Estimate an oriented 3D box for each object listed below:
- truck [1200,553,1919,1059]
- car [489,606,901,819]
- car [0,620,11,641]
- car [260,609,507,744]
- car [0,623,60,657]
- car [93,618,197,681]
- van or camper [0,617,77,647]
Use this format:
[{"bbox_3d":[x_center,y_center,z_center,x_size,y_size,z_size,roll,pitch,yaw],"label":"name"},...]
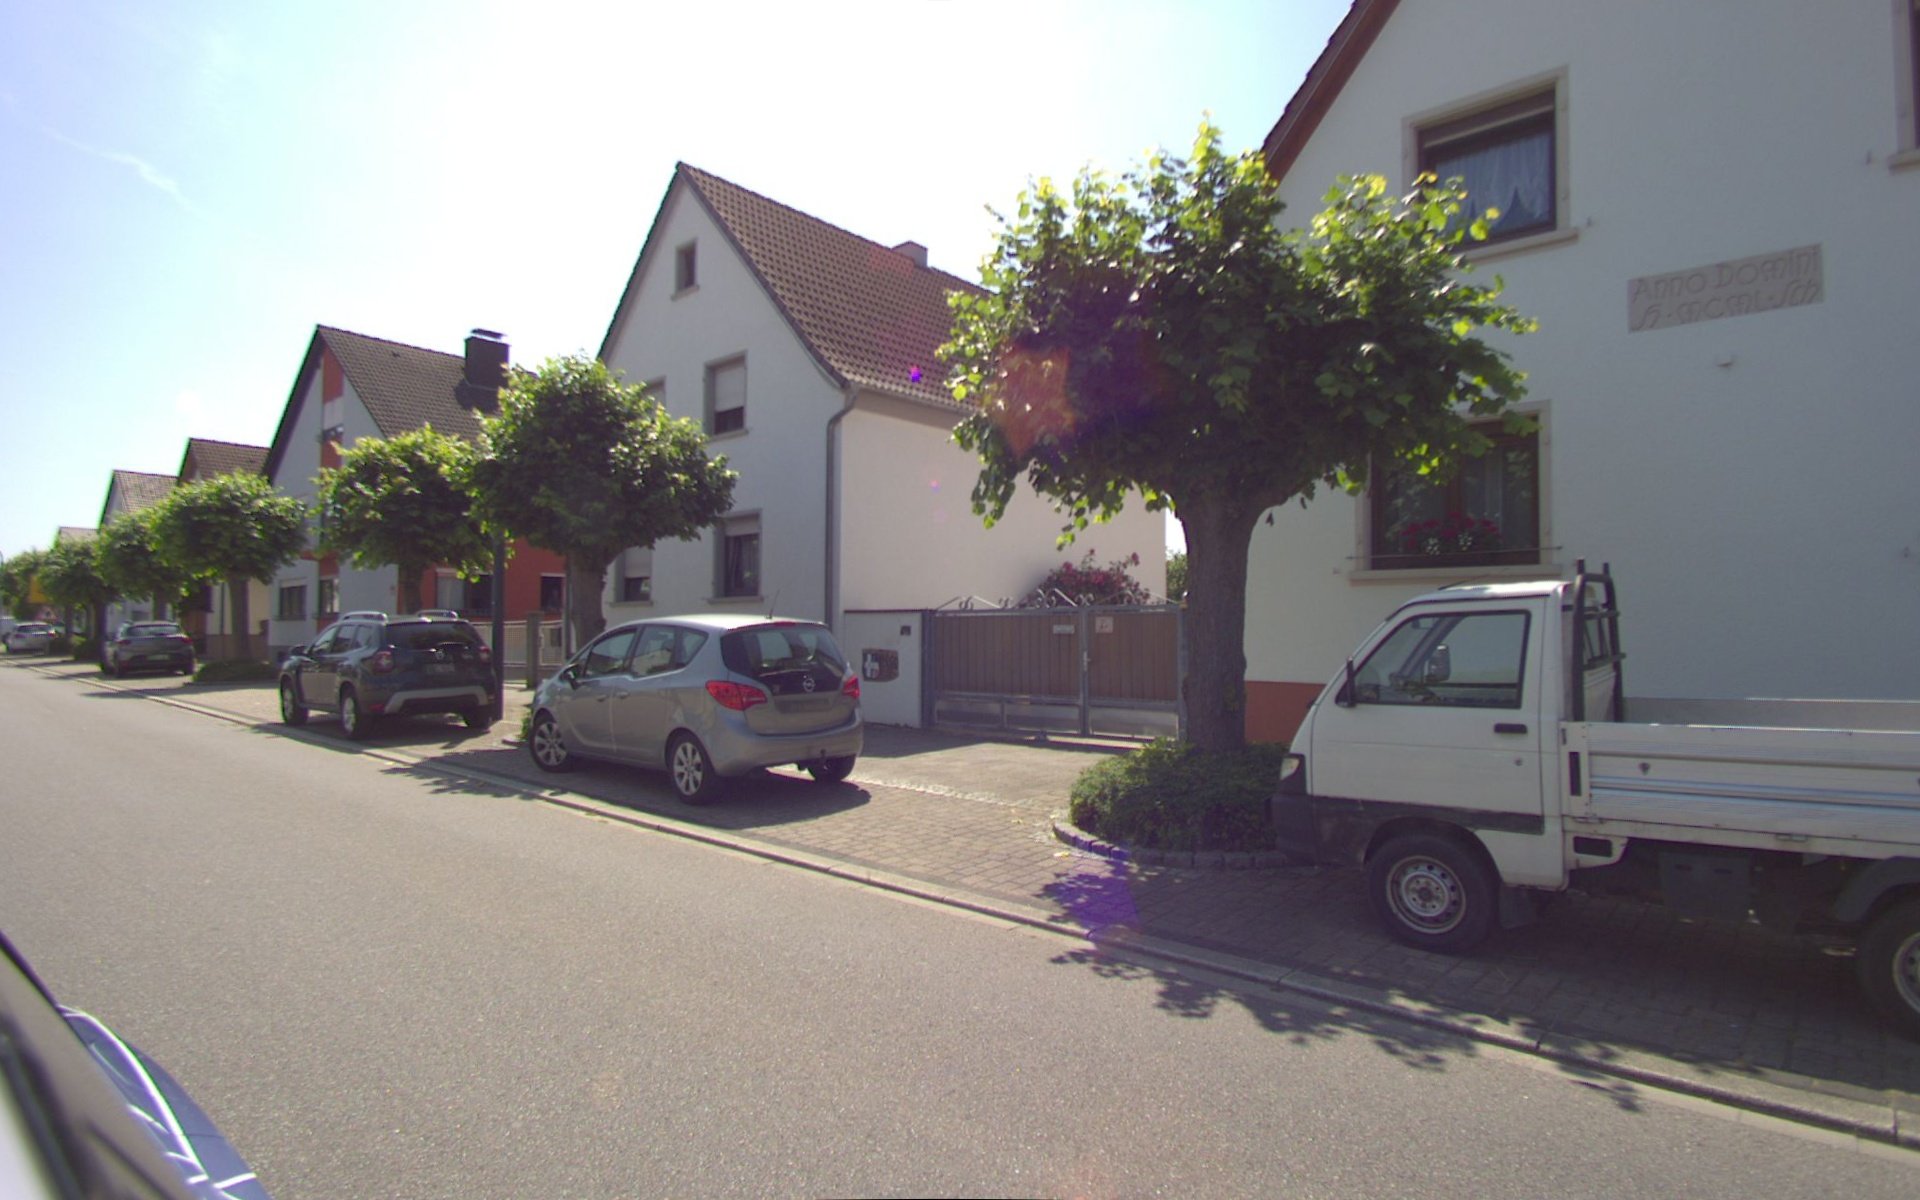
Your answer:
[{"bbox_3d":[3.370,0.729,4.602,4.191,1.778,1.559,-1,0,42],"label":"truck"},{"bbox_3d":[-2.777,0.901,10.010,4.369,1.625,1.833,-1,0,42],"label":"car"},{"bbox_3d":[-81.983,2.620,84.130,1.942,1.732,4.201,-1,0,36],"label":"car"},{"bbox_3d":[-8.466,1.022,14.706,4.297,1.649,1.833,-2,-1,42],"label":"car"},{"bbox_3d":[-44.238,1.884,48.066,4.132,1.494,1.805,-1,0,42],"label":"car"},{"bbox_3d":[-23.491,1.376,29.124,4.136,1.625,1.832,-1,0,44],"label":"car"},{"bbox_3d":[-63.250,2.173,68.734,1.999,1.876,4.691,-2,-1,41],"label":"van or camper"}]
